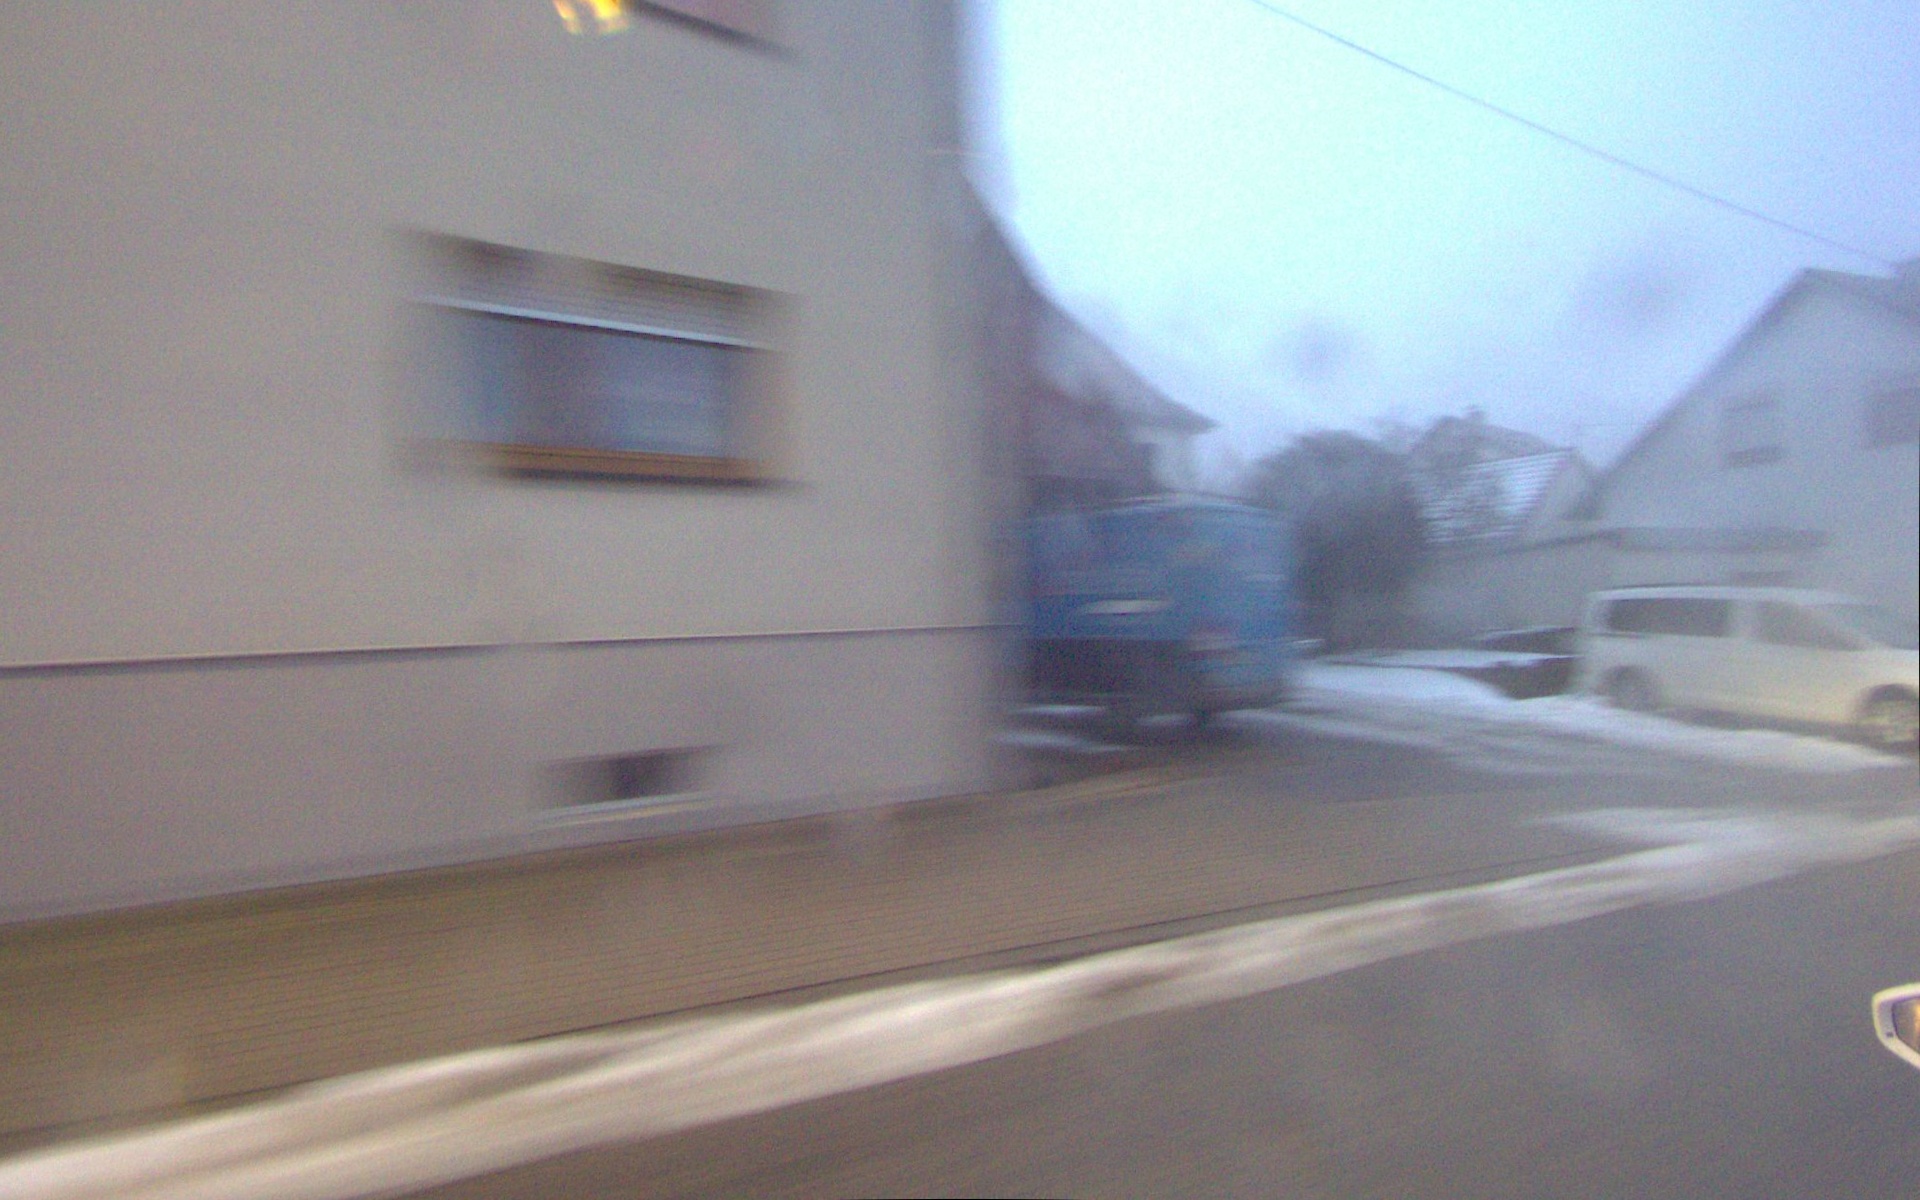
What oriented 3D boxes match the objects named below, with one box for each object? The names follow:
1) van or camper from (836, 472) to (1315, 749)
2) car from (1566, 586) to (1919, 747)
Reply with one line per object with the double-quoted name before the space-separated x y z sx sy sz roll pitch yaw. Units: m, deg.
"van or camper" 1.098 0.161 11.549 5.230 2.480 2.134 -1 -2 42
"car" 10.375 0.714 12.474 1.861 1.689 4.786 2 0 -19
